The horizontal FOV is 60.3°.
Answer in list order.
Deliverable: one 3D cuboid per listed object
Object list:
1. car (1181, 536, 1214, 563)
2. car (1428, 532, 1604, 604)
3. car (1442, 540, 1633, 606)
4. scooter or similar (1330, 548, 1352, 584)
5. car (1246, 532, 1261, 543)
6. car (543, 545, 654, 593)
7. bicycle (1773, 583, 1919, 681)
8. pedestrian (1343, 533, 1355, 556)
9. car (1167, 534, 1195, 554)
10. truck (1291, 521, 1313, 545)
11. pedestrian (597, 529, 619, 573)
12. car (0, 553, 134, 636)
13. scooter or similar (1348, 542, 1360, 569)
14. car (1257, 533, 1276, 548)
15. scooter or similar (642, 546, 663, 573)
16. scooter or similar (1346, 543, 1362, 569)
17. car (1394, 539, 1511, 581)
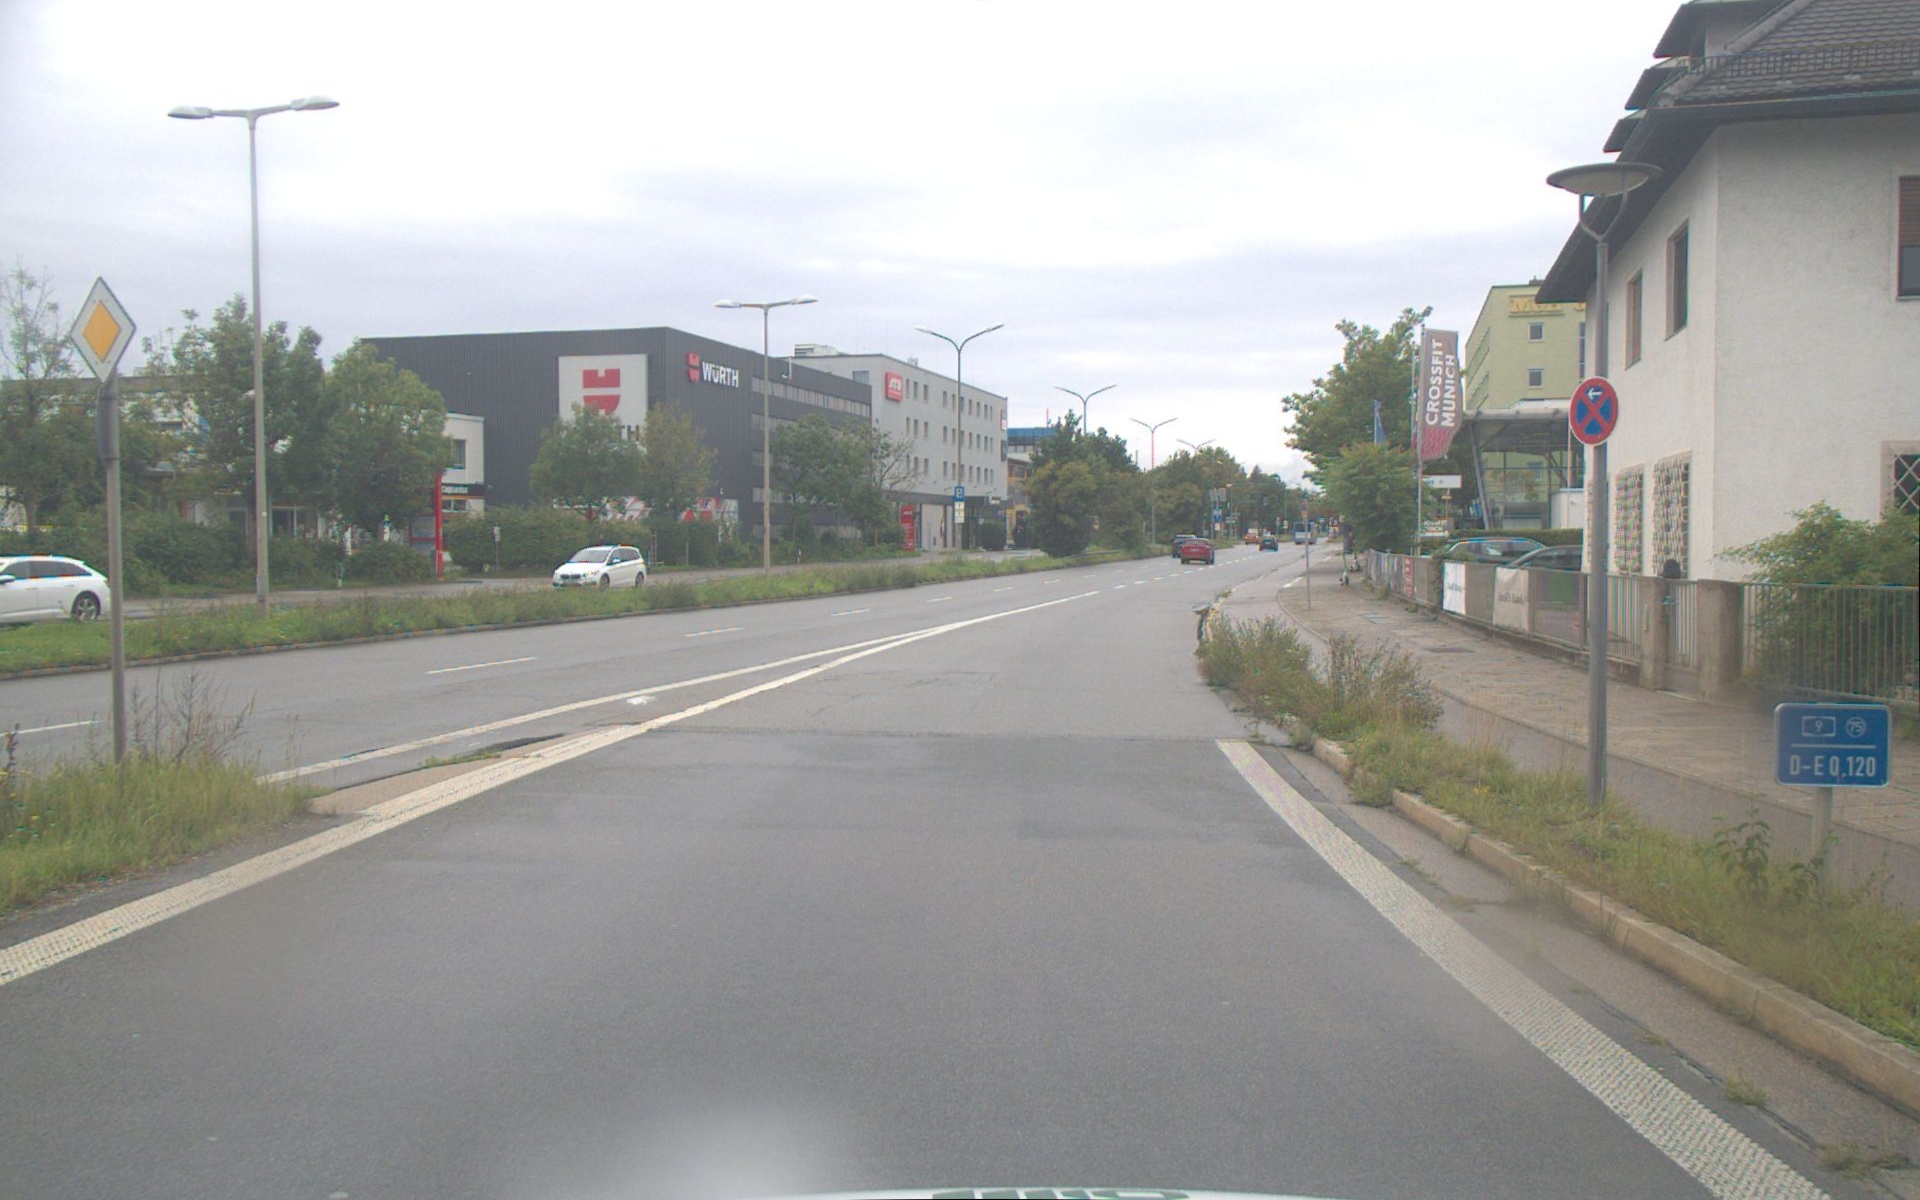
[{"bbox_3d":[14.947,-3.159,103.977,1.822,1.646,4.004,1,2,11],"label":"car"},{"bbox_3d":[13.923,-0.843,41.632,4.009,1.756,1.929,0,2,12],"label":"car"},{"bbox_3d":[13.488,-0.658,38.850,4.009,1.475,1.929,0,2,12],"label":"car"},{"bbox_3d":[13.563,-1.194,58.856,0.388,1.244,1.640,-3,1,1],"label":"scooter or similar"},{"bbox_3d":[38.814,-8.267,218.942,1.765,1.457,4.004,0,2,13],"label":"car"},{"bbox_3d":[-12.607,-1.096,58.041,1.951,1.599,4.578,0,1,14],"label":"car"},{"bbox_3d":[10.441,0.364,19.102,1.805,1.088,0.474,1,2,12],"label":"bicycle"},{"bbox_3d":[30.954,-4.422,131.541,0.742,1.758,0.896,-4,1,8],"label":"pedestrian"},{"bbox_3d":[16.395,-4.149,122.517,1.765,1.457,4.004,0,2,13],"label":"car"},{"bbox_3d":[47.939,-9.380,231.976,2.905,3.342,7.924,0,2,13],"label":"truck"},{"bbox_3d":[-15.042,-2.089,70.727,0.609,1.861,0.818,0,2,14],"label":"pedestrian"},{"bbox_3d":[-19.305,-0.132,33.229,1.951,1.599,5.124,0,2,14],"label":"car"},{"bbox_3d":[19.380,-2.197,81.398,0.485,1.225,1.431,-3,2,11],"label":"scooter or similar"},{"bbox_3d":[31.145,-6.028,167.855,1.765,1.457,4.004,0,2,13],"label":"car"},{"bbox_3d":[-14.252,-1.878,76.706,0.436,1.248,1.389,0,2,12],"label":"scooter or similar"},{"bbox_3d":[18.881,-2.115,79.277,0.485,1.225,1.431,-3,1,5],"label":"scooter or similar"},{"bbox_3d":[17.610,-1.443,59.318,3.928,1.485,1.795,0,2,14],"label":"car"}]
